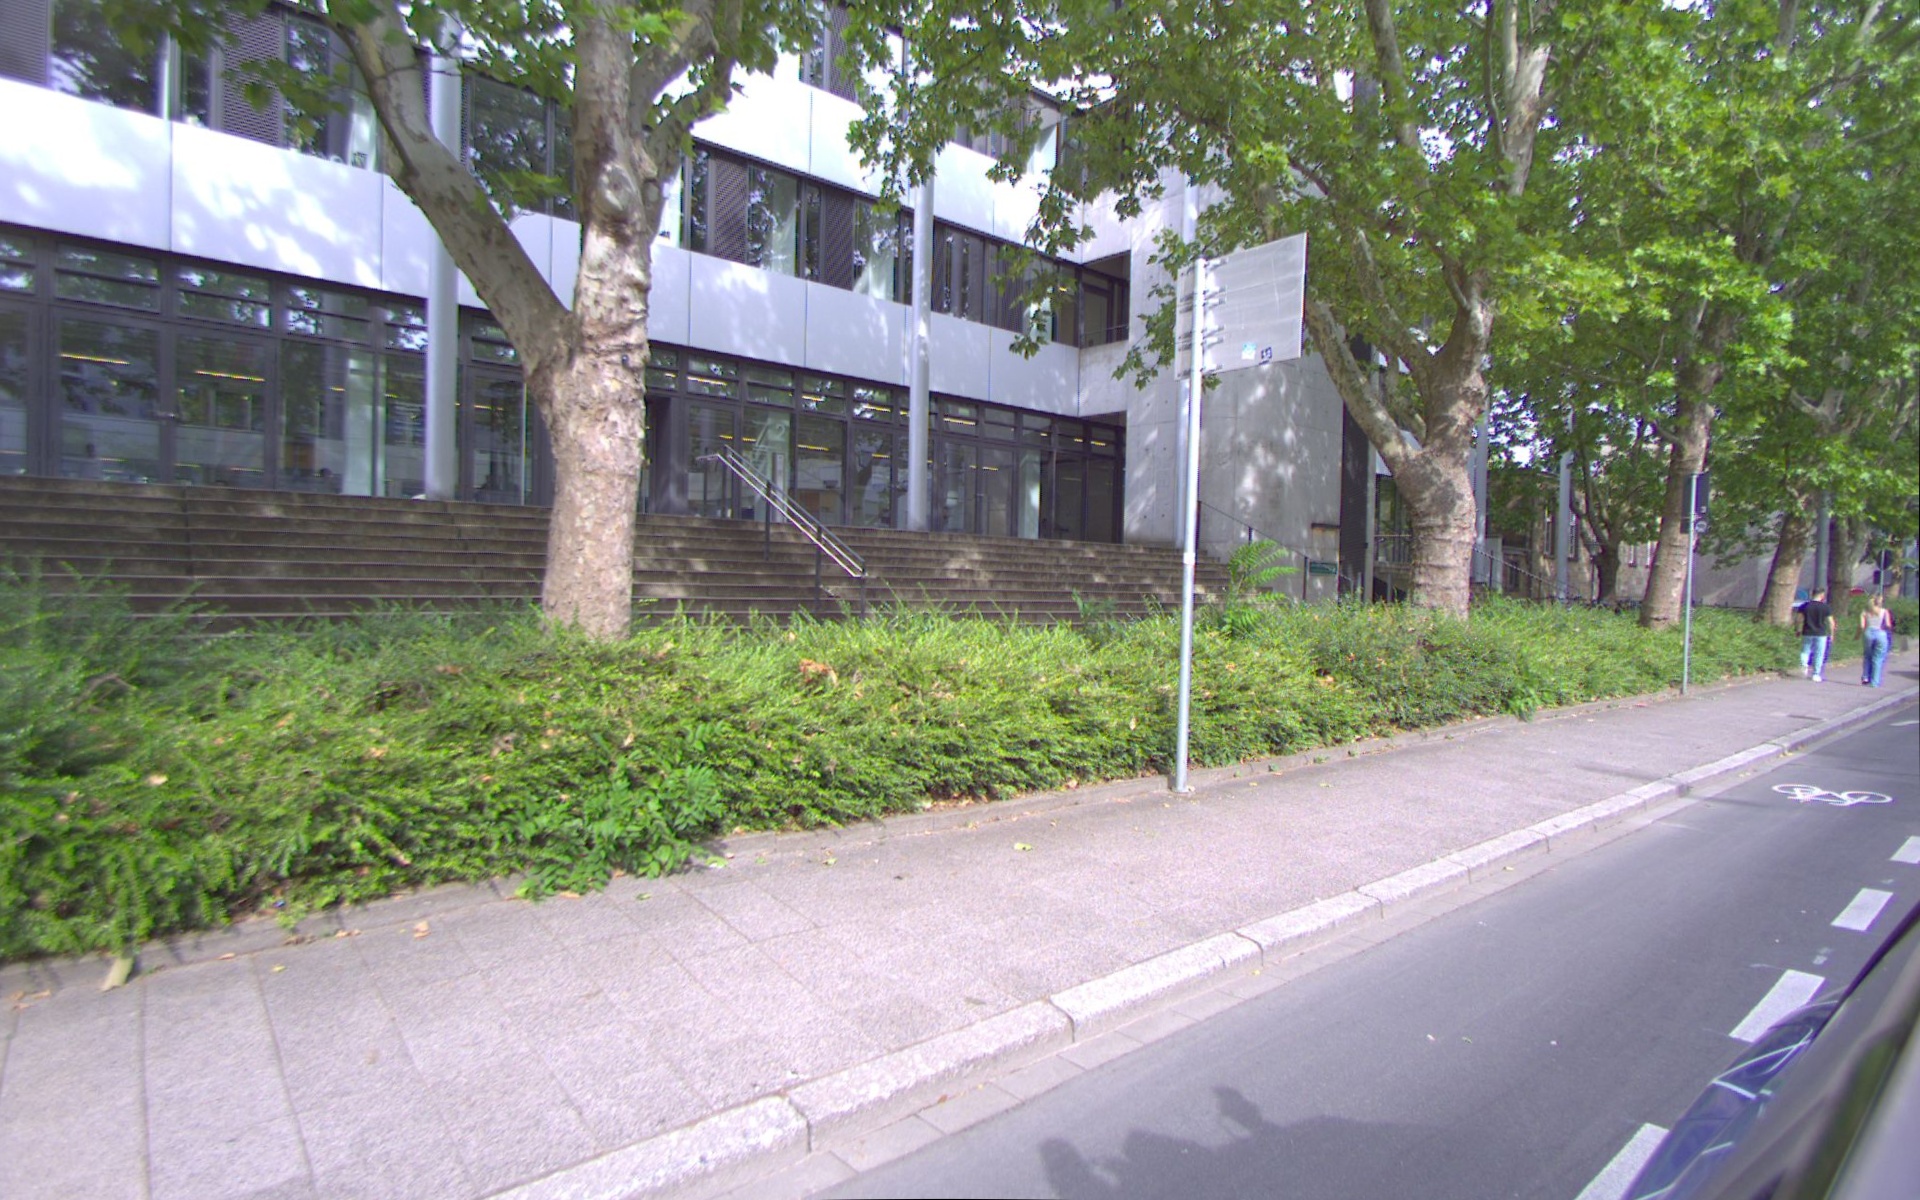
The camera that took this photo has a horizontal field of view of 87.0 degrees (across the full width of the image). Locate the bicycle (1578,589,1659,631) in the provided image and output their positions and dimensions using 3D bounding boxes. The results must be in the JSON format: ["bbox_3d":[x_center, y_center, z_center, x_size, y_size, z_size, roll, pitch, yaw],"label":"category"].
[{"bbox_3d":[19.992,0.284,30.742,0.661,1.131,1.919,1,2,-40],"label":"bicycle"}]

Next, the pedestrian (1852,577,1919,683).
[{"bbox_3d":[16.651,0.512,18.187,1.016,1.805,0.712,0,3,-42],"label":"pedestrian"}]

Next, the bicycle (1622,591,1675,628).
[{"bbox_3d":[22.165,0.292,32.592,1.374,1.131,0.505,3,2,36],"label":"bicycle"}]

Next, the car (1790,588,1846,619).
[{"bbox_3d":[44.730,0.194,52.754,4.223,1.468,1.671,3,-1,-42],"label":"car"}]

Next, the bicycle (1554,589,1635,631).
[{"bbox_3d":[19.008,0.283,30.354,0.661,1.131,1.919,1,2,-40],"label":"bicycle"}]

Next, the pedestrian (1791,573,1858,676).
[{"bbox_3d":[16.119,0.438,18.868,1.016,1.821,0.716,0,3,-42],"label":"pedestrian"}]

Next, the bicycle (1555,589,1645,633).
[{"bbox_3d":[18.525,0.296,29.332,0.661,1.131,2.084,1,2,-40],"label":"bicycle"}]

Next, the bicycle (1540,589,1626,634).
[{"bbox_3d":[17.514,0.302,28.494,0.661,1.131,1.919,1,2,-40],"label":"bicycle"}]

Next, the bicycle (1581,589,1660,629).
[{"bbox_3d":[20.633,0.274,31.643,0.661,1.131,1.919,1,2,-40],"label":"bicycle"}]

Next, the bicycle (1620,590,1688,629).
[{"bbox_3d":[21.920,0.296,31.996,1.686,1.131,0.616,3,2,31],"label":"bicycle"}]

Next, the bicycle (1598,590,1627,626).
[{"bbox_3d":[21.264,0.264,32.973,0.491,1.131,1.415,4,2,44],"label":"bicycle"}]
